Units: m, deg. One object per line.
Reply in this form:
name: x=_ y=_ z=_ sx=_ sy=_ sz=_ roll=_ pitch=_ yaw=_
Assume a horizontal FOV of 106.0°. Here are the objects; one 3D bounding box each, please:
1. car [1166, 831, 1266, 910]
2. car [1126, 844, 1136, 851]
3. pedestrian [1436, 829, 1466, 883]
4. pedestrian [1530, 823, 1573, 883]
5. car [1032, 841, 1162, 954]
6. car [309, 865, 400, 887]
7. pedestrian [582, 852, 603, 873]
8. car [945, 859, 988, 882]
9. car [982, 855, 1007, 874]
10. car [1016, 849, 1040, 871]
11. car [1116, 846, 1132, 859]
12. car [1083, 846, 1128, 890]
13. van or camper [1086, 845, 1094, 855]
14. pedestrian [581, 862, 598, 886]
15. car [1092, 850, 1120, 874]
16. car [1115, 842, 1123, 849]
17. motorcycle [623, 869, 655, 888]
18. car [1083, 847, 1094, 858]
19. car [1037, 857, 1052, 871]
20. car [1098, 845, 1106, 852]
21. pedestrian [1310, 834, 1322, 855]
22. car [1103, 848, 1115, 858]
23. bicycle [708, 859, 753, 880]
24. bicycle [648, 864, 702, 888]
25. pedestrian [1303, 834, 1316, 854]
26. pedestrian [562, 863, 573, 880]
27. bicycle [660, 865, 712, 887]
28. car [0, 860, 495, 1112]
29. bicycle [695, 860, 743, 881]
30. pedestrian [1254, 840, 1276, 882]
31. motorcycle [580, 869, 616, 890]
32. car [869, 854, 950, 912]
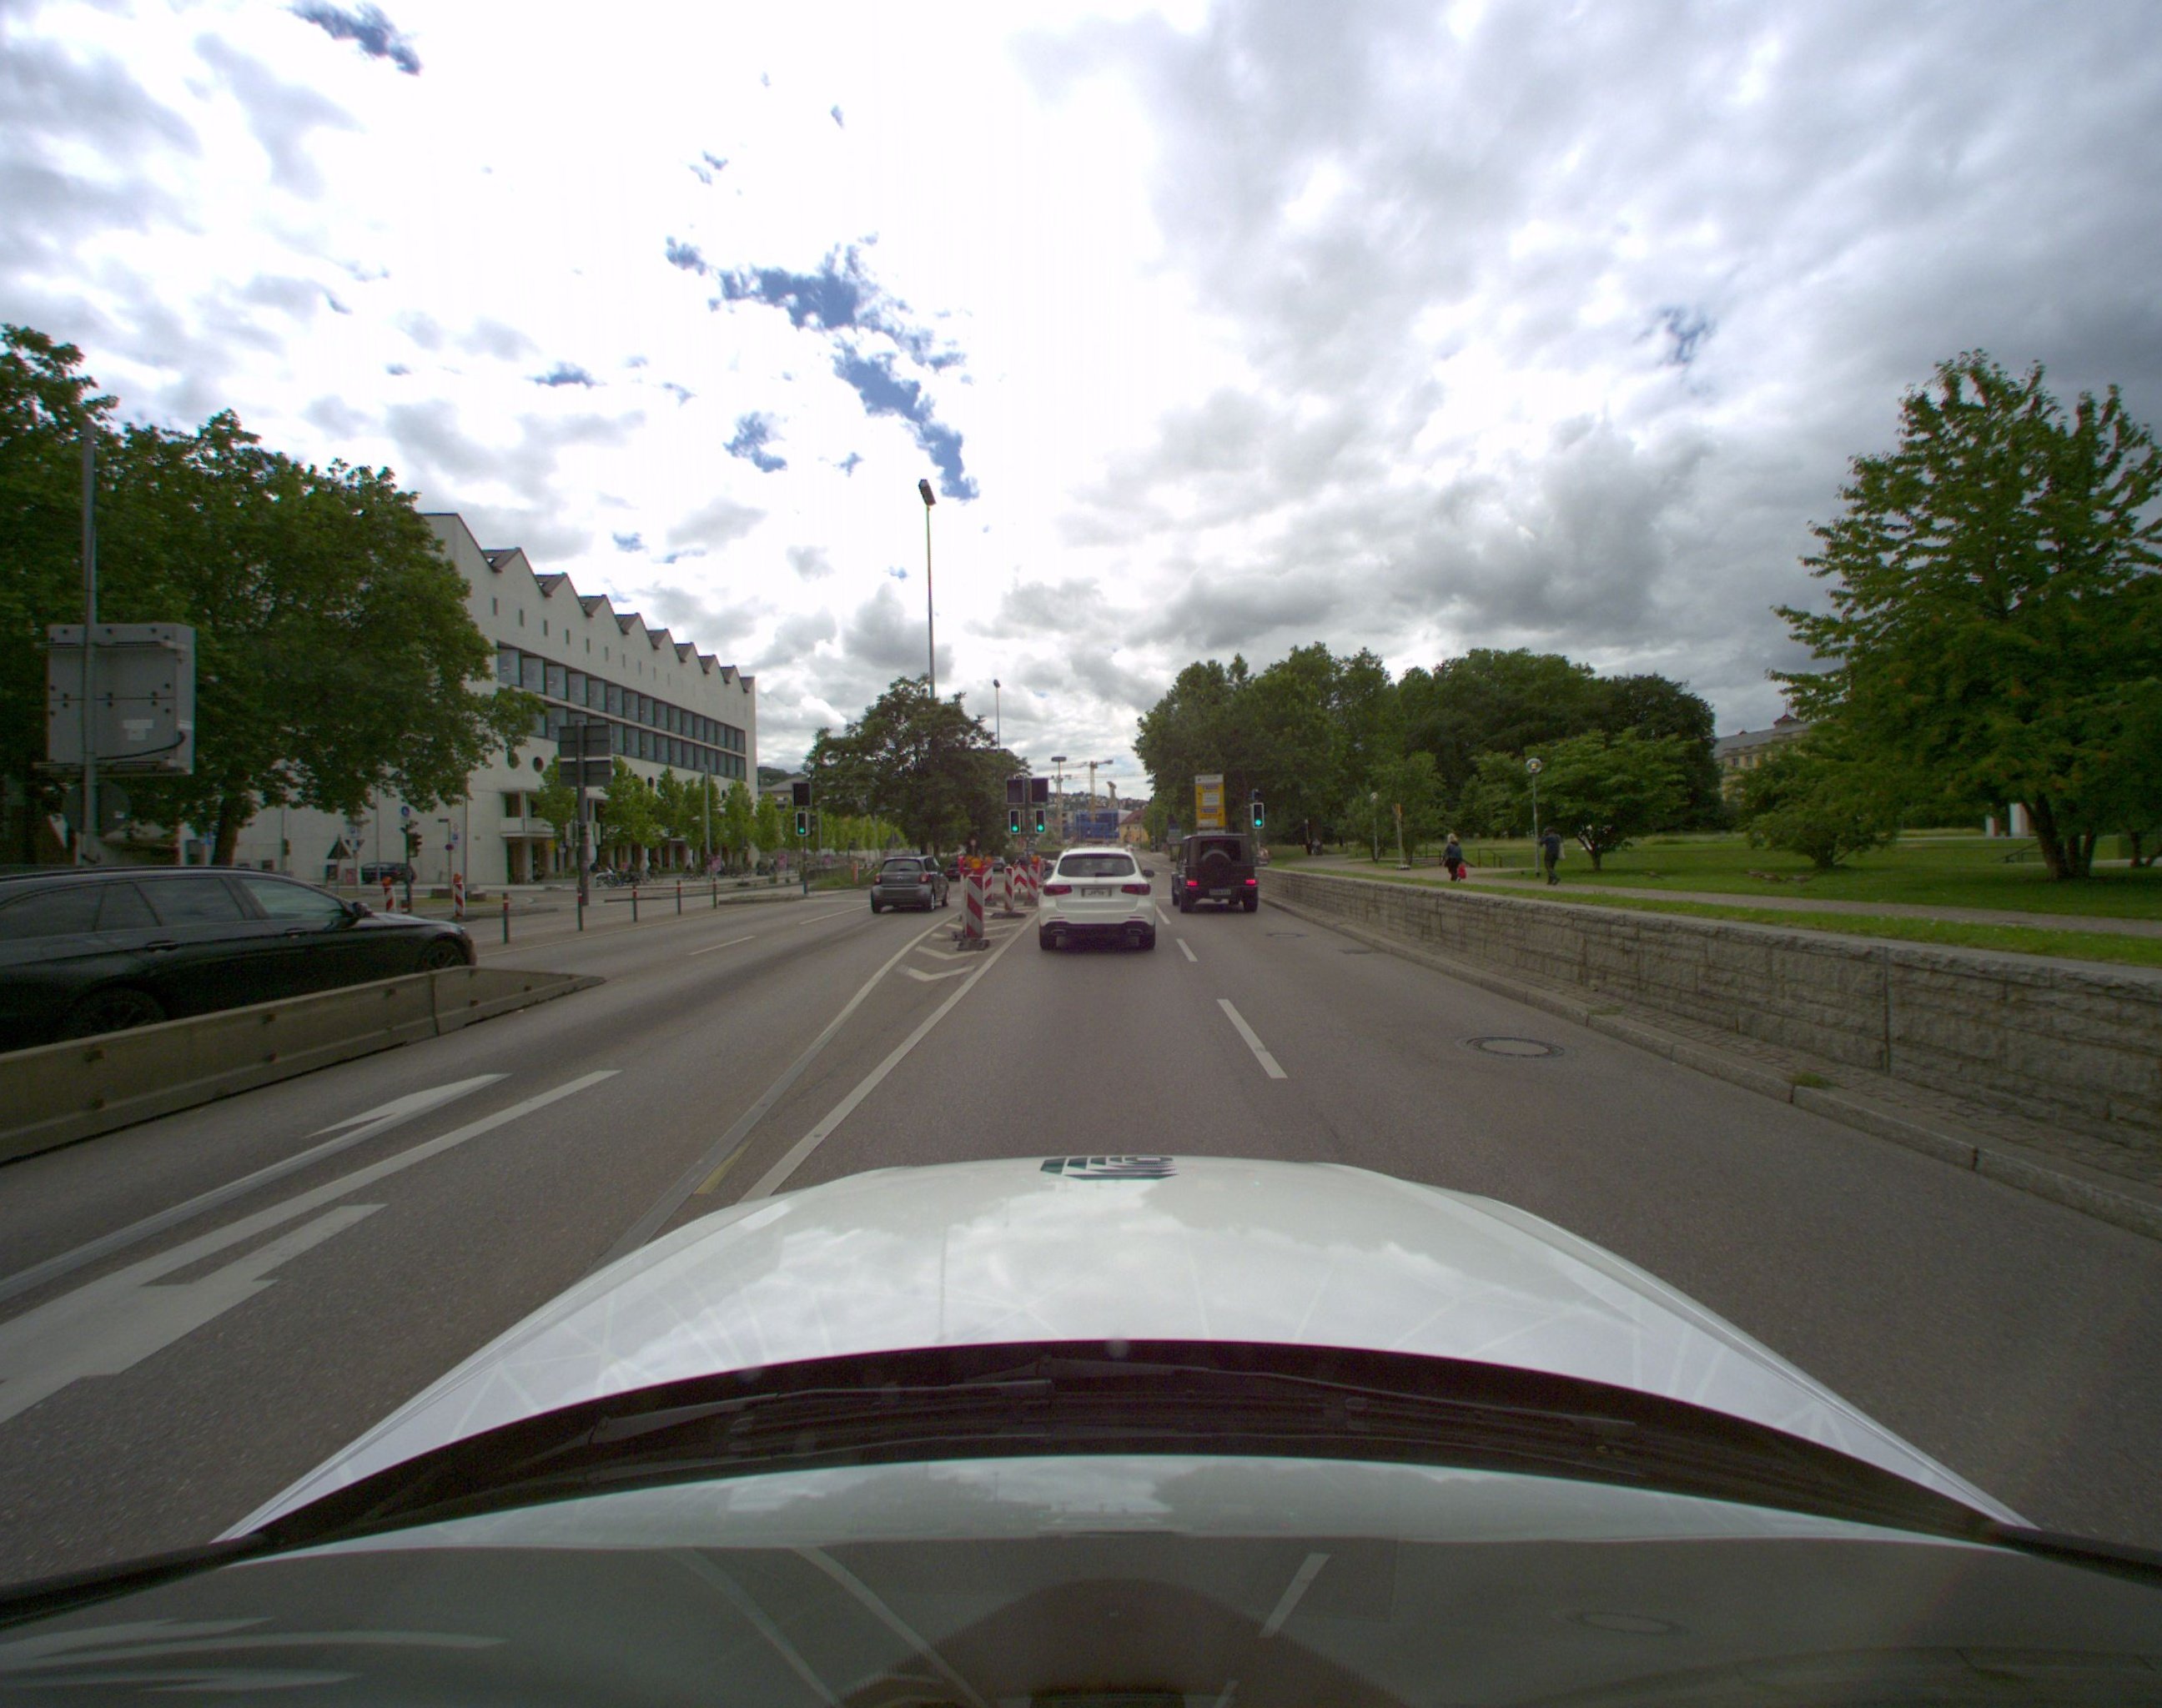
car: x=3.491 y=0.425 z=21.922 sx=1.971 sy=1.893 sz=4.707 roll=1 pitch=-1 yaw=1
car: x=12.627 y=-1.718 z=206.998 sx=1.990 sy=1.618 sz=3.994 roll=1 pitch=-1 yaw=-4
pedestrian: x=11.043 y=0.064 z=24.319 sx=0.677 sy=1.562 sz=0.912 roll=-2 pitch=0 yaw=18
pedestrian: x=13.090 y=-0.026 z=22.675 sx=0.797 sy=1.626 sz=0.627 roll=-2 pitch=0 yaw=8
car: x=0.245 y=0.677 z=14.250 sx=1.934 sy=1.684 sz=3.999 roll=1 pitch=-1 yaw=0
car: x=-44.964 y=1.362 z=50.443 sx=3.974 sy=1.276 sz=1.751 roll=1 pitch=-1 yaw=0
pedestrian: x=-37.090 y=0.638 z=61.892 sx=1.094 sy=1.568 sz=0.762 roll=1 pitch=-1 yaw=3
car: x=-6.886 y=0.977 z=49.244 sx=1.711 sy=1.292 sz=4.005 roll=1 pitch=0 yaw=5
car: x=-7.597 y=0.921 z=71.913 sx=1.748 sy=1.553 sz=3.999 roll=1 pitch=0 yaw=-1
car: x=-4.160 y=0.463 z=64.518 sx=1.714 sy=1.678 sz=3.998 roll=1 pitch=0 yaw=-1
car: x=5.904 y=-0.232 z=111.168 sx=1.987 sy=1.662 sz=3.999 roll=1 pitch=-1 yaw=0
car: x=0.955 y=0.553 z=32.452 sx=1.666 sy=1.628 sz=4.000 roll=1 pitch=-1 yaw=1
van or camper: x=2.146 y=-0.984 z=198.220 sx=1.916 sy=2.320 sz=3.999 roll=-1 pitch=-2 yaw=0
pedestrian: x=-32.711 y=1.333 z=54.202 sx=0.887 sy=1.557 sz=0.591 roll=-2 pitch=0 yaw=-42
car: x=1.673 y=0.521 z=55.575 sx=1.714 sy=1.584 sz=3.998 roll=1 pitch=0 yaw=-1
car: x=8.987 y=-2.023 z=192.849 sx=1.714 sy=1.584 sz=3.998 roll=1 pitch=0 yaw=-1
motorcycle: x=-30.877 y=1.684 z=56.883 sx=1.892 sy=1.234 sz=0.653 roll=-2 pitch=-2 yaw=-25
car: x=1.343 y=-0.254 z=143.803 sx=1.986 sy=1.757 sz=4.001 roll=1 pitch=-1 yaw=2
car: x=-4.407 y=1.176 z=97.433 sx=1.716 sy=1.584 sz=3.994 roll=1 pitch=0 yaw=-4
car: x=5.309 y=-1.334 z=205.670 sx=1.714 sy=1.584 sz=3.998 roll=1 pitch=0 yaw=-1
pedestrian: x=21.586 y=-0.876 z=74.760 sx=0.990 sy=1.836 sz=1.032 roll=1 pitch=-1 yaw=9
car: x=5.151 y=-0.203 z=150.219 sx=1.987 sy=1.781 sz=3.999 roll=1 pitch=-1 yaw=0
bicycle: x=-32.134 y=1.414 z=74.731 sx=3.614 sy=1.684 sz=1.179 roll=-2 pitch=0 yaw=-11
bicycle: x=-32.087 y=1.717 z=64.408 sx=3.602 sy=1.684 sz=1.182 roll=-2 pitch=0 yaw=-1
pedestrian: x=19.770 y=-0.830 z=70.486 sx=0.893 sy=1.732 sz=0.969 roll=1 pitch=0 yaw=1
pedestrian: x=-40.806 y=1.416 z=64.696 sx=0.517 sy=1.327 sz=0.565 roll=-3 pitch=-2 yaw=1
bicycle: x=-32.383 y=1.805 z=66.835 sx=3.602 sy=1.684 sz=1.182 roll=-2 pitch=0 yaw=-1
car: x=-7.460 y=0.811 z=6.731 sx=1.808 sy=1.460 sz=4.858 roll=2 pitch=-1 yaw=-3
bicycle: x=-32.109 y=1.415 z=72.332 sx=3.614 sy=1.684 sz=1.179 roll=-2 pitch=0 yaw=-11
pedestrian: x=7.327 y=0.269 z=32.443 sx=0.695 sy=1.656 sz=0.684 roll=1 pitch=-1 yaw=0
motorcycle: x=-30.844 y=1.640 z=52.046 sx=1.892 sy=1.234 sz=0.653 roll=-2 pitch=-2 yaw=-25
car: x=-4.742 y=0.767 z=22.955 sx=1.623 sy=1.509 sz=3.537 roll=0 pitch=-1 yaw=-2
